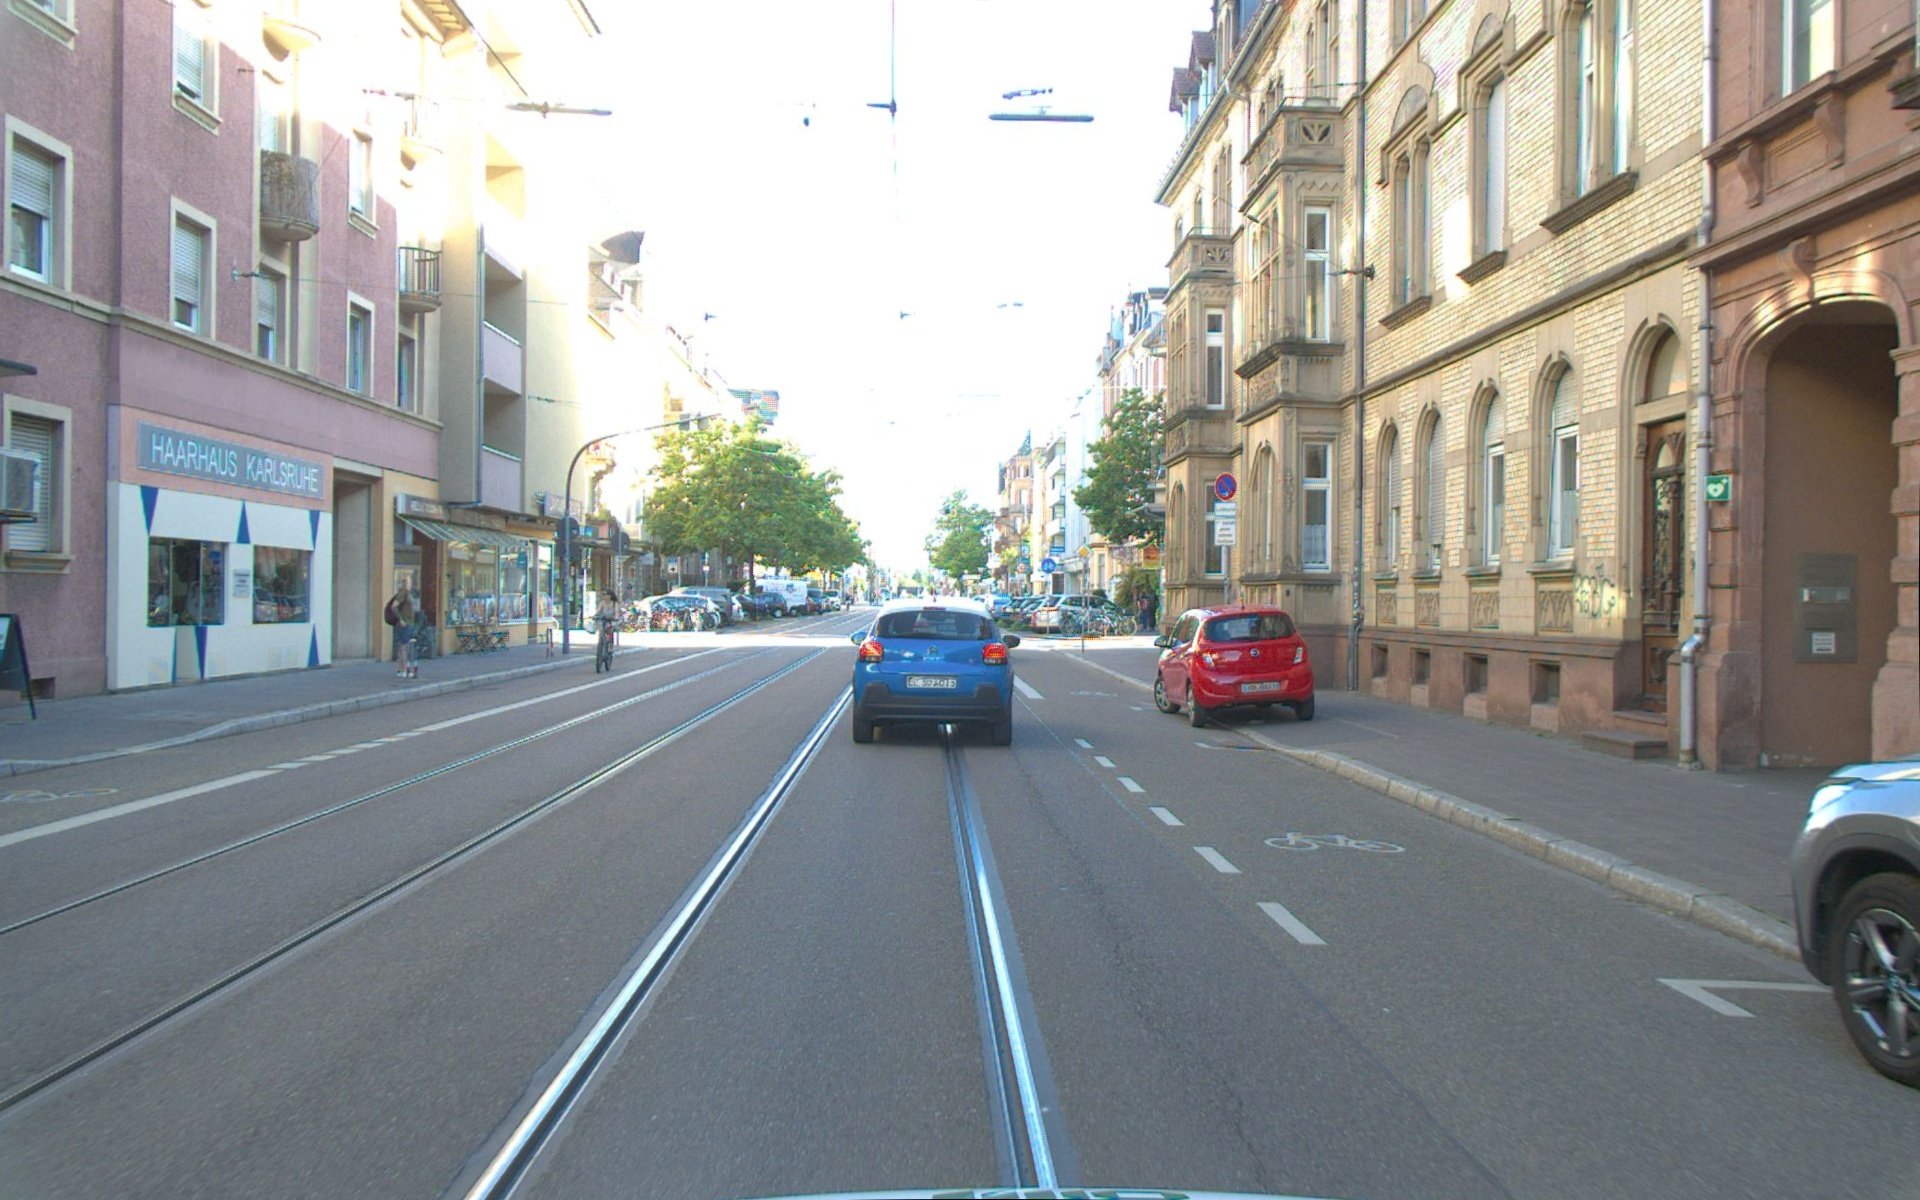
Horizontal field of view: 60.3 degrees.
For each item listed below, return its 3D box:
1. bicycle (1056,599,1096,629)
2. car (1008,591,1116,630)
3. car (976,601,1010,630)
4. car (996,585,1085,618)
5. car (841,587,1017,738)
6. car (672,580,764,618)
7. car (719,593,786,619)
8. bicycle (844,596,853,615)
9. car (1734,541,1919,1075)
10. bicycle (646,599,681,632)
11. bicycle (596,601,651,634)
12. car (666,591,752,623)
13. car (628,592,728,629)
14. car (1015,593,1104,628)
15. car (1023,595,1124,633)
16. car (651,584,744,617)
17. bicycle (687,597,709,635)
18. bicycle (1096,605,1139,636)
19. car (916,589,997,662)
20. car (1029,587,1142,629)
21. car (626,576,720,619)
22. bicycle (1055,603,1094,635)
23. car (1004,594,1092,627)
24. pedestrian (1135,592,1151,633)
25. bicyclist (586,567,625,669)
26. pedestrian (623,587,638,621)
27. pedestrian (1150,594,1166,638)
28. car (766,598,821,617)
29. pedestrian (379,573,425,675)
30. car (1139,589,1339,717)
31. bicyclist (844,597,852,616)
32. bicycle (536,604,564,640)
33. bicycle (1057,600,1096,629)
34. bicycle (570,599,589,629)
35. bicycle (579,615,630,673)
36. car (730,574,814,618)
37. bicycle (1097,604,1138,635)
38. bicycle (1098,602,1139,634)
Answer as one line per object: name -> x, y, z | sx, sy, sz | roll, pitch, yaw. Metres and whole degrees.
bicycle -> 4.551, 0.546, 64.700 | 1.527, 1.147, 0.295 | 1, -1, 5
car -> 4.532, 0.472, 73.770 | 4.380, 1.624, 2.071 | 1, 0, -26
car -> 1.965, 0.915, 98.492 | 1.835, 1.624, 4.718 | 1, 0, -1
car -> 4.197, 0.102, 86.455 | 4.250, 1.624, 1.966 | 1, 0, -26
car -> -0.355, 0.634, 18.282 | 1.727, 1.466, 3.555 | 1, 0, -2
car -> -12.455, -0.040, 85.200 | 4.314, 1.814, 1.972 | 1, -1, -34
car -> -13.180, 0.380, 104.927 | 3.925, 1.515, 1.797 | 1, 0, -18
bicycle -> -10.221, 0.471, 151.595 | 0.666, 1.708, 2.096 | 1, 0, -1
car -> 4.040, 0.665, 4.139 | 1.829, 1.675, 4.396 | 1, 0, -5
bicycle -> -11.315, 0.581, 62.998 | 0.675, 1.143, 1.867 | 0, 2, -32
bicycle -> -12.676, 0.656, 62.320 | 2.390, 1.128, 0.680 | 3, 3, 39
car -> -12.187, 0.341, 80.413 | 3.787, 1.455, 1.750 | 1, 0, -27
car -> -11.763, 0.442, 69.091 | 3.747, 1.424, 1.734 | 1, 0, -35
car -> 4.888, 0.523, 81.102 | 3.938, 1.624, 1.943 | 1, 0, -26
car -> 4.879, 0.596, 71.075 | 3.938, 1.563, 1.902 | 1, 0, -26
car -> -12.253, 0.028, 77.216 | 3.970, 1.475, 1.679 | 1, -1, -34
bicycle -> -10.012, 0.605, 63.278 | 0.668, 1.342, 2.433 | 1, 2, -5
bicycle -> 6.041, 0.770, 63.492 | 1.639, 1.147, 0.552 | 1, -1, 5
car -> -0.111, 0.592, 39.681 | 1.835, 1.624, 3.999 | 1, 0, -1
car -> 5.156, 0.348, 68.017 | 4.298, 1.624, 1.838 | 1, 0, -26
car -> -12.806, -0.089, 73.904 | 3.769, 1.816, 1.779 | 1, -1, -30
bicycle -> 4.338, 0.716, 62.612 | 1.370, 1.147, 0.551 | 1, -1, -7
car -> 4.468, 0.528, 83.852 | 3.938, 1.624, 2.070 | 1, 0, -26
pedestrian -> 7.573, 0.523, 68.506 | 0.507, 1.677, 0.863 | 1, -1, -1
bicyclist -> -7.206, 0.368, 33.679 | 0.599, 2.049, 0.733 | 1, -1, -1
pedestrian -> -16.436, 0.191, 82.484 | 0.558, 1.681, 0.641 | 1, -1, -1
pedestrian -> 8.238, 0.654, 68.846 | 0.507, 1.809, 0.863 | 1, -1, -1
car -> -12.257, 0.549, 121.488 | 3.752, 1.287, 1.503 | 1, 0, -27
pedestrian -> -9.548, 0.407, 28.303 | 0.552, 1.715, 0.616 | 1, -1, -3
car -> 3.704, 0.662, 22.719 | 1.828, 1.508, 4.399 | -2, 0, -2
bicyclist -> -10.245, 0.594, 151.650 | 0.621, 1.711, 0.726 | 1, -1, -1
bicycle -> -14.331, 0.756, 57.839 | 0.668, 1.128, 2.432 | 1, 2, -8
bicycle -> 4.534, 0.568, 64.364 | 1.523, 1.098, 0.307 | 1, -1, 5
bicycle -> -14.446, 0.526, 62.796 | 0.397, 1.129, 1.825 | 0, 0, -22
bicycle -> -7.209, 0.881, 33.631 | 0.590, 1.115, 2.044 | -2, 0, -1
car -> -12.598, -0.261, 110.955 | 5.317, 2.797, 1.787 | 1, -1, -32
bicycle -> 5.992, 0.733, 62.881 | 1.523, 1.147, 0.528 | 1, -1, 5
bicycle -> 5.959, 0.684, 62.302 | 1.523, 1.147, 0.552 | 1, -1, 5
